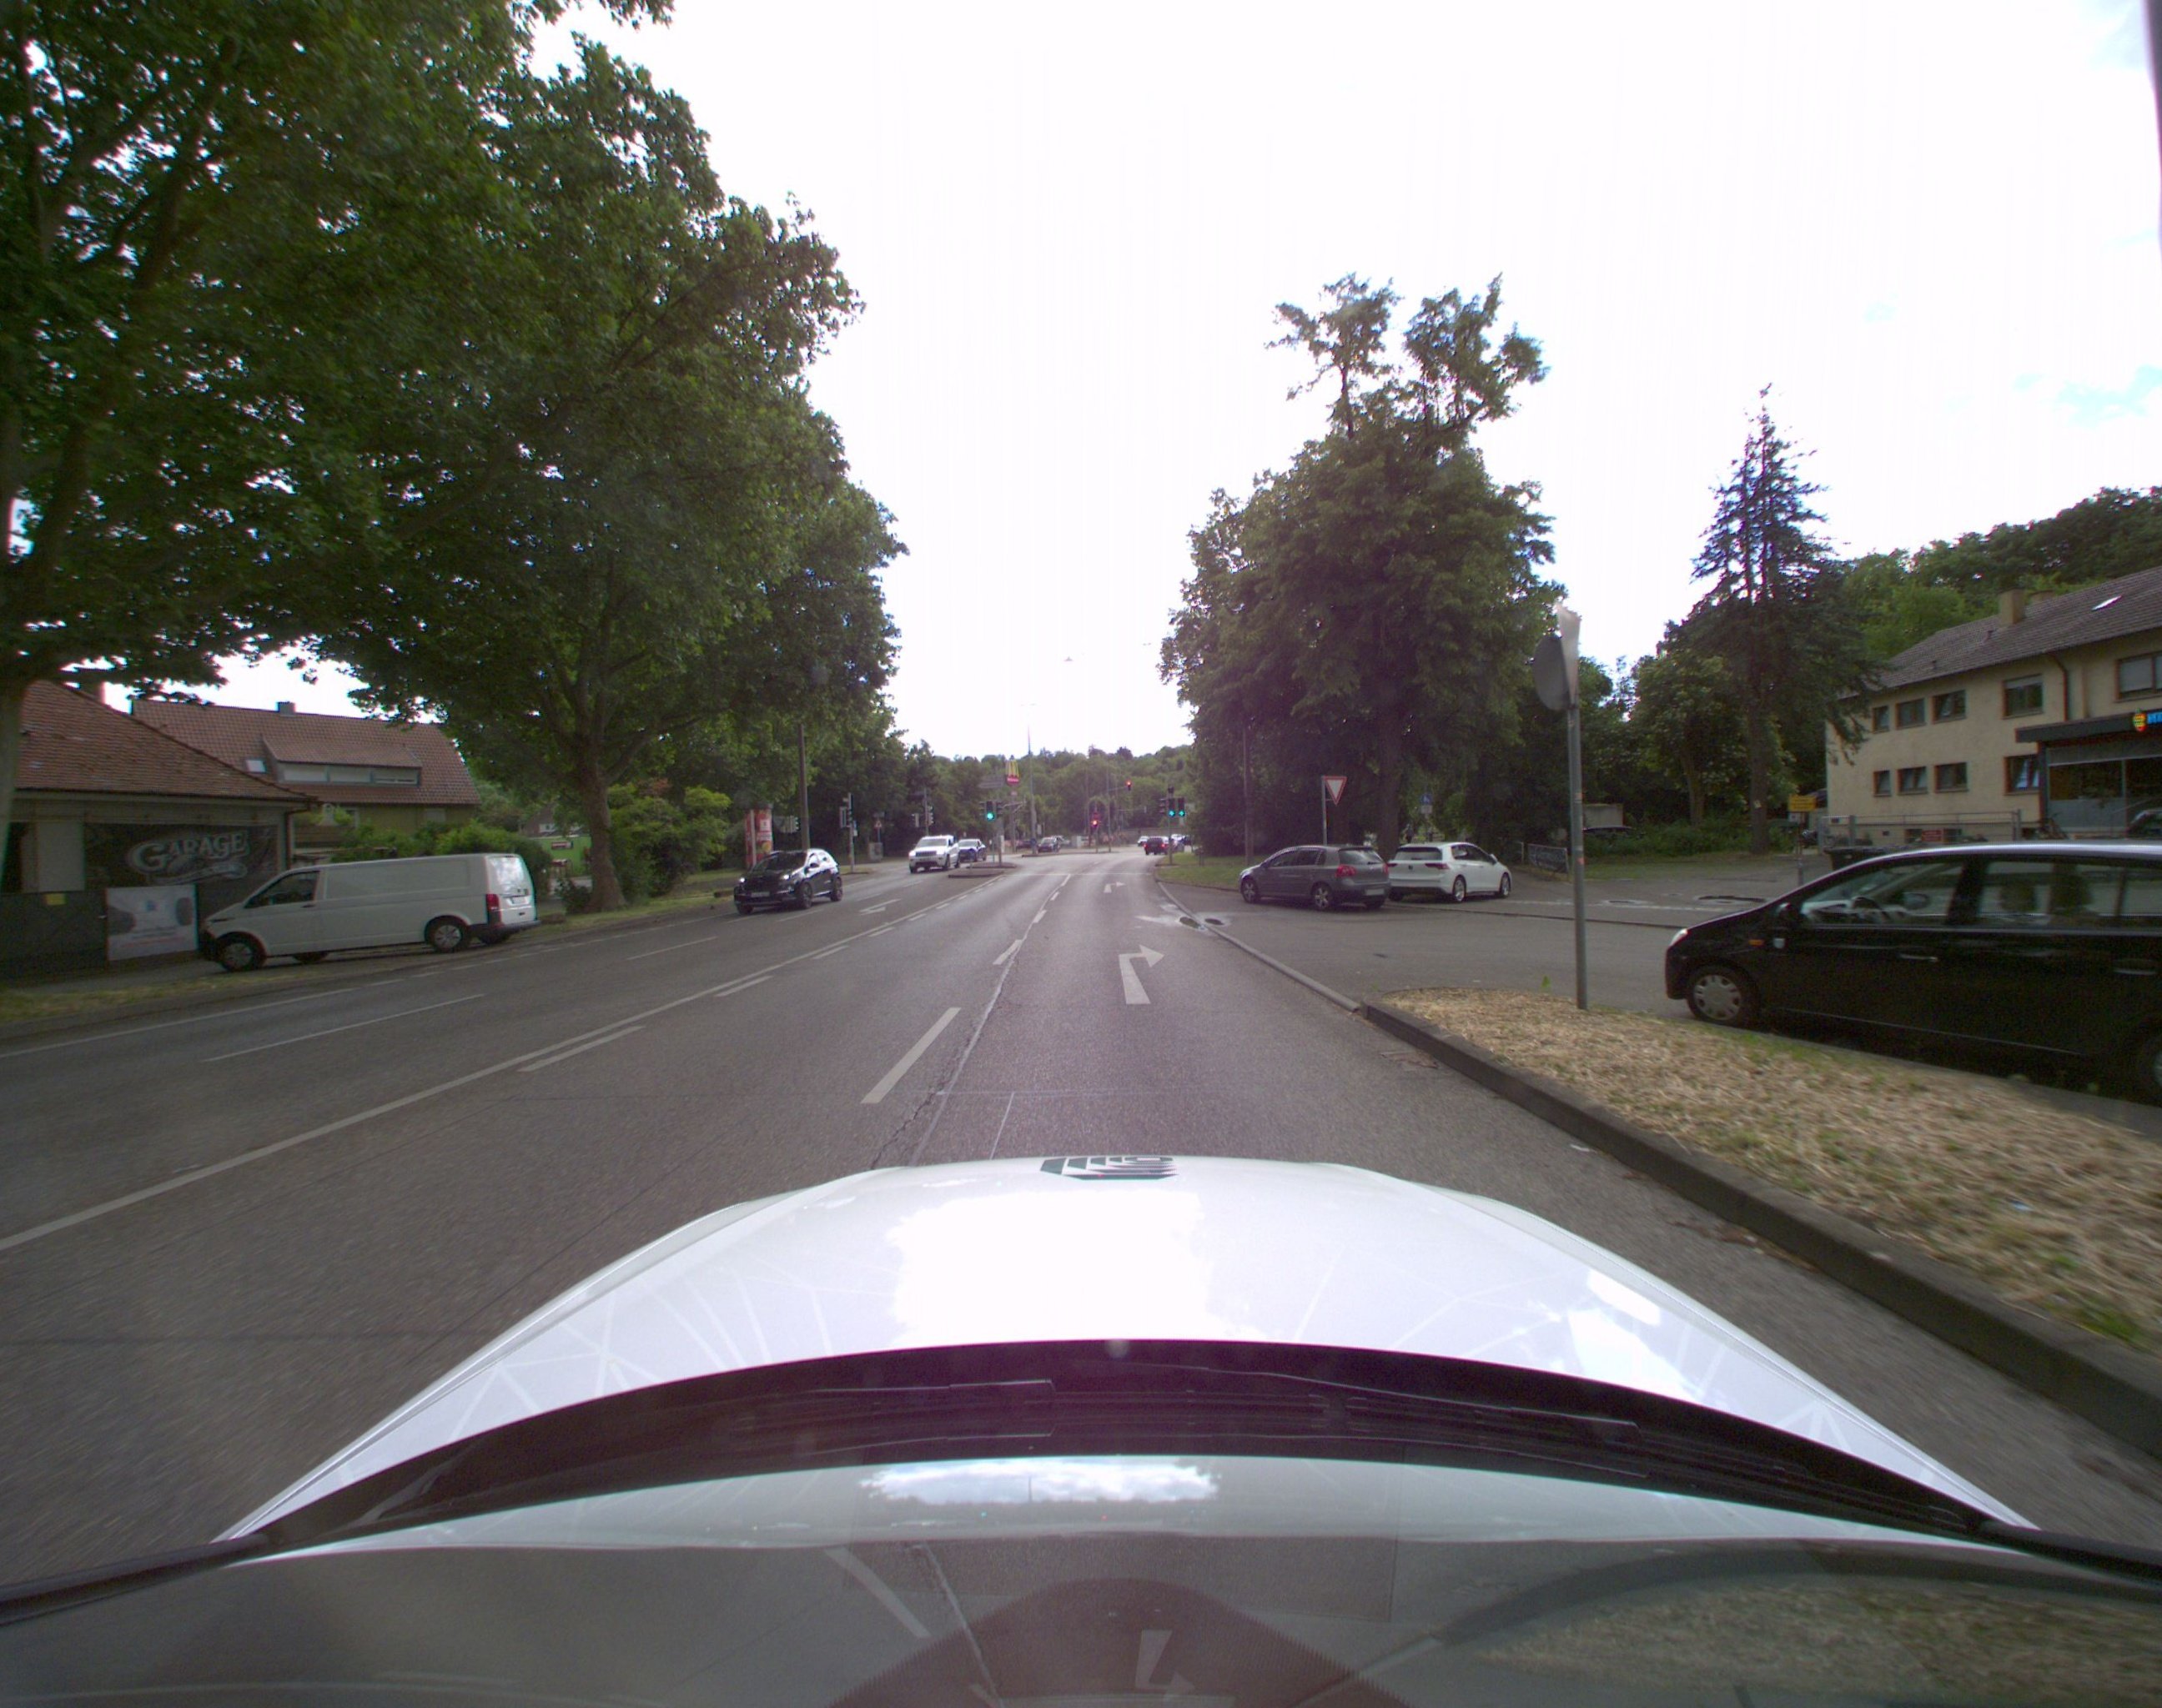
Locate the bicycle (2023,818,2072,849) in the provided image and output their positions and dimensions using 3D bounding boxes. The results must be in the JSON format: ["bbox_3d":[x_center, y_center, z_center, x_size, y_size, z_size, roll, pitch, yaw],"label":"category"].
[{"bbox_3d":[30.731,-0.657,25.895,1.967,0.876,0.410,-3,1,-23],"label":"bicycle"}]

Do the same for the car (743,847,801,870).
[{"bbox_3d":[-22.370,0.321,58.915,3.805,1.479,1.838,-2,1,30],"label":"car"}]

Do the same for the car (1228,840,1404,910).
[{"bbox_3d":[5.479,0.401,19.532,1.737,1.429,4.076,-3,2,-27],"label":"car"}]

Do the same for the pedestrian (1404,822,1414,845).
[{"bbox_3d":[21.959,-1.362,54.474,0.506,1.531,0.781,-2,0,16],"label":"pedestrian"}]

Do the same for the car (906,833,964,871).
[{"bbox_3d":[-7.459,-0.169,42.024,1.904,1.763,4.755,-3,1,2],"label":"car"}]

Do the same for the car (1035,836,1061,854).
[{"bbox_3d":[-3.120,-0.876,77.198,1.557,1.526,3.202,-2,2,14],"label":"car"}]

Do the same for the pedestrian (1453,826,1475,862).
[{"bbox_3d":[17.225,-0.458,36.650,0.680,1.551,0.744,-2,1,7],"label":"pedestrian"}]

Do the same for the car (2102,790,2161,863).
[{"bbox_3d":[25.815,-0.703,18.211,3.389,1.630,1.631,-3,0,14],"label":"car"}]

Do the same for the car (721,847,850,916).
[{"bbox_3d":[-8.219,0.678,23.125,1.790,1.586,4.417,-5,1,2],"label":"car"}]

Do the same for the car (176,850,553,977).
[{"bbox_3d":[-14.131,1.087,16.465,5.229,1.931,2.076,-5,1,-11],"label":"car"}]

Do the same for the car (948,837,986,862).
[{"bbox_3d":[-7.300,-0.330,52.309,1.562,1.382,3.955,-4,2,4],"label":"car"}]

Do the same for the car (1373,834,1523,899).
[{"bbox_3d":[9.265,0.258,20.386,4.284,1.380,1.744,-3,1,-40],"label":"car"}]

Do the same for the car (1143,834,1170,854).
[{"bbox_3d":[6.140,-0.843,66.254,1.811,1.509,4.586,-2,1,9],"label":"car"}]

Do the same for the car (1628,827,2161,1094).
[{"bbox_3d":[6.125,0.553,5.760,1.574,1.404,3.470,-3,1,-21],"label":"car"}]
